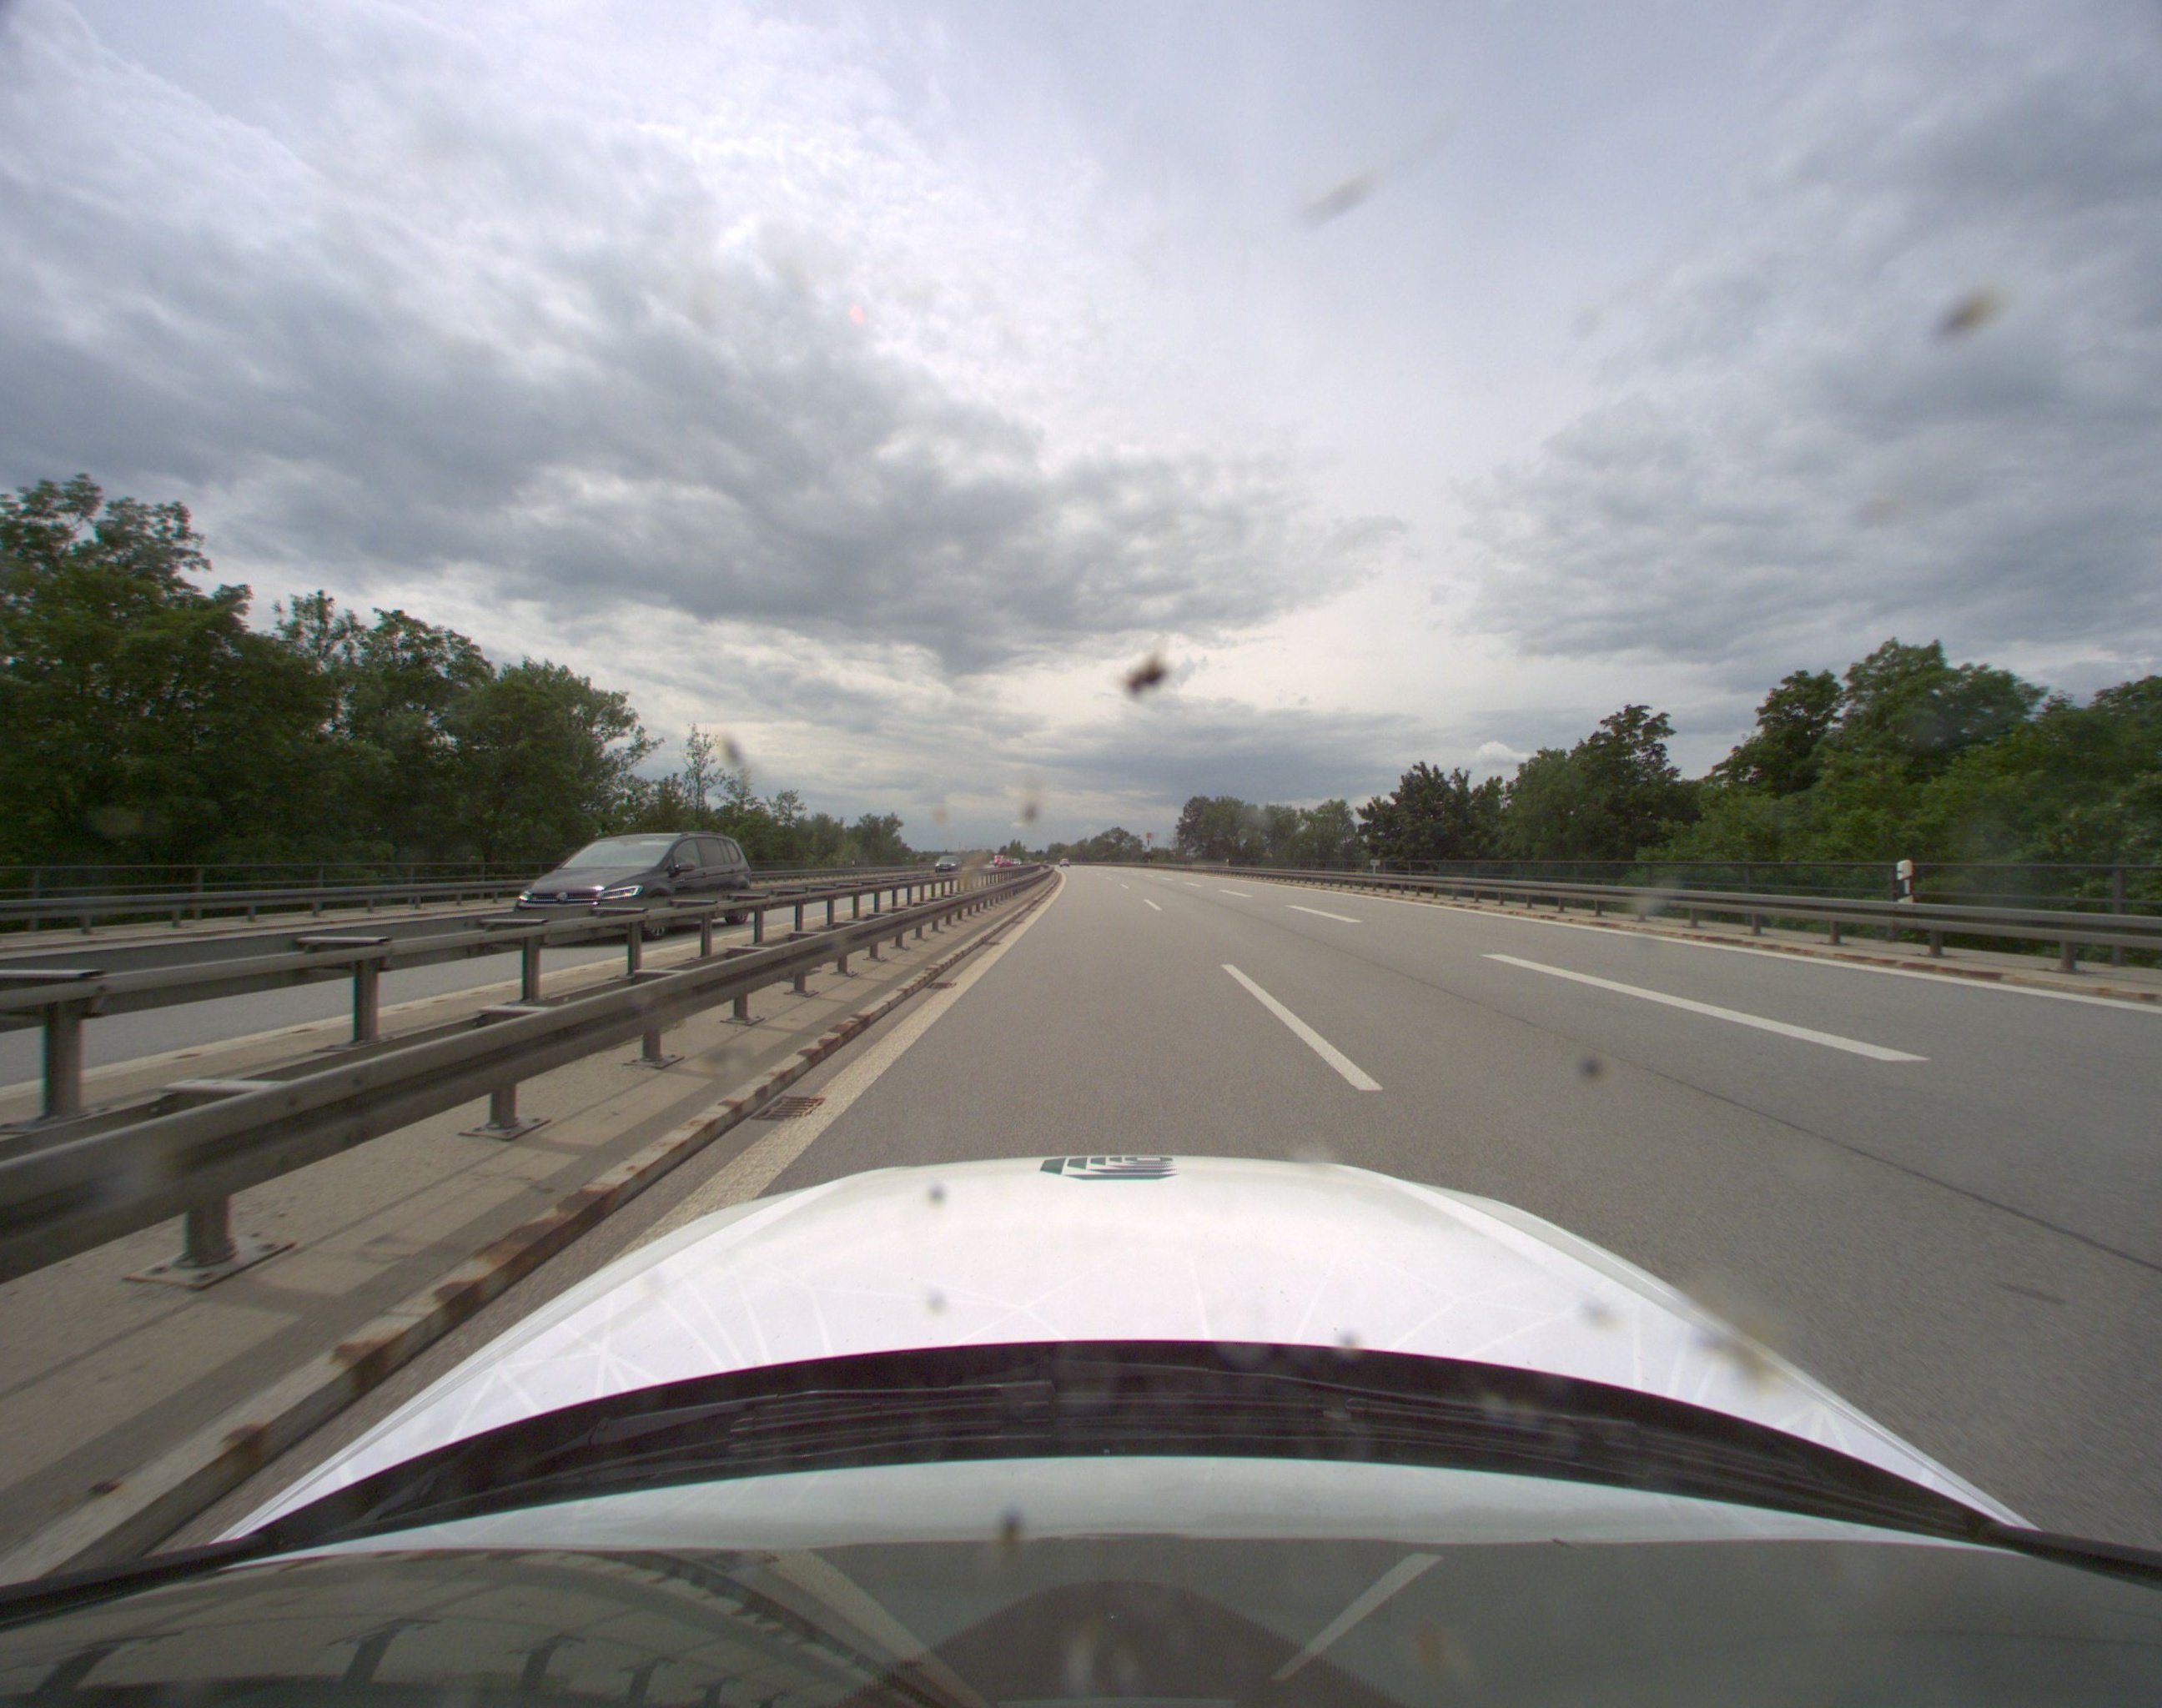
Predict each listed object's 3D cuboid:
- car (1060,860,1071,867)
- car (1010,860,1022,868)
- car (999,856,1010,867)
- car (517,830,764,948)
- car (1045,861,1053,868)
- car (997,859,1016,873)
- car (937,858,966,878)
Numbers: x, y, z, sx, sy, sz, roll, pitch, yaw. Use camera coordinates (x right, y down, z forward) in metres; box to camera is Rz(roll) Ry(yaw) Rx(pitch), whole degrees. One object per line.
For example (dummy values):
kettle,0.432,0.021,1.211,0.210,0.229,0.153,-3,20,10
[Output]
car,-3.350,2.062,176.392,1.902,1.640,4.382,0,-1,-9
car,-11.875,1.836,148.865,1.724,1.406,4.247,4,-1,-1
car,-16.078,1.627,171.045,1.989,2.293,6.388,0,0,-4
car,-6.790,0.488,13.112,1.637,1.605,4.003,0,0,3
car,-8.663,2.844,220.415,1.891,1.640,4.608,0,0,-8
car,-8.523,1.363,93.181,1.807,1.640,4.566,0,0,-1
car,-10.731,1.122,67.581,1.705,1.640,4.566,0,0,-1
